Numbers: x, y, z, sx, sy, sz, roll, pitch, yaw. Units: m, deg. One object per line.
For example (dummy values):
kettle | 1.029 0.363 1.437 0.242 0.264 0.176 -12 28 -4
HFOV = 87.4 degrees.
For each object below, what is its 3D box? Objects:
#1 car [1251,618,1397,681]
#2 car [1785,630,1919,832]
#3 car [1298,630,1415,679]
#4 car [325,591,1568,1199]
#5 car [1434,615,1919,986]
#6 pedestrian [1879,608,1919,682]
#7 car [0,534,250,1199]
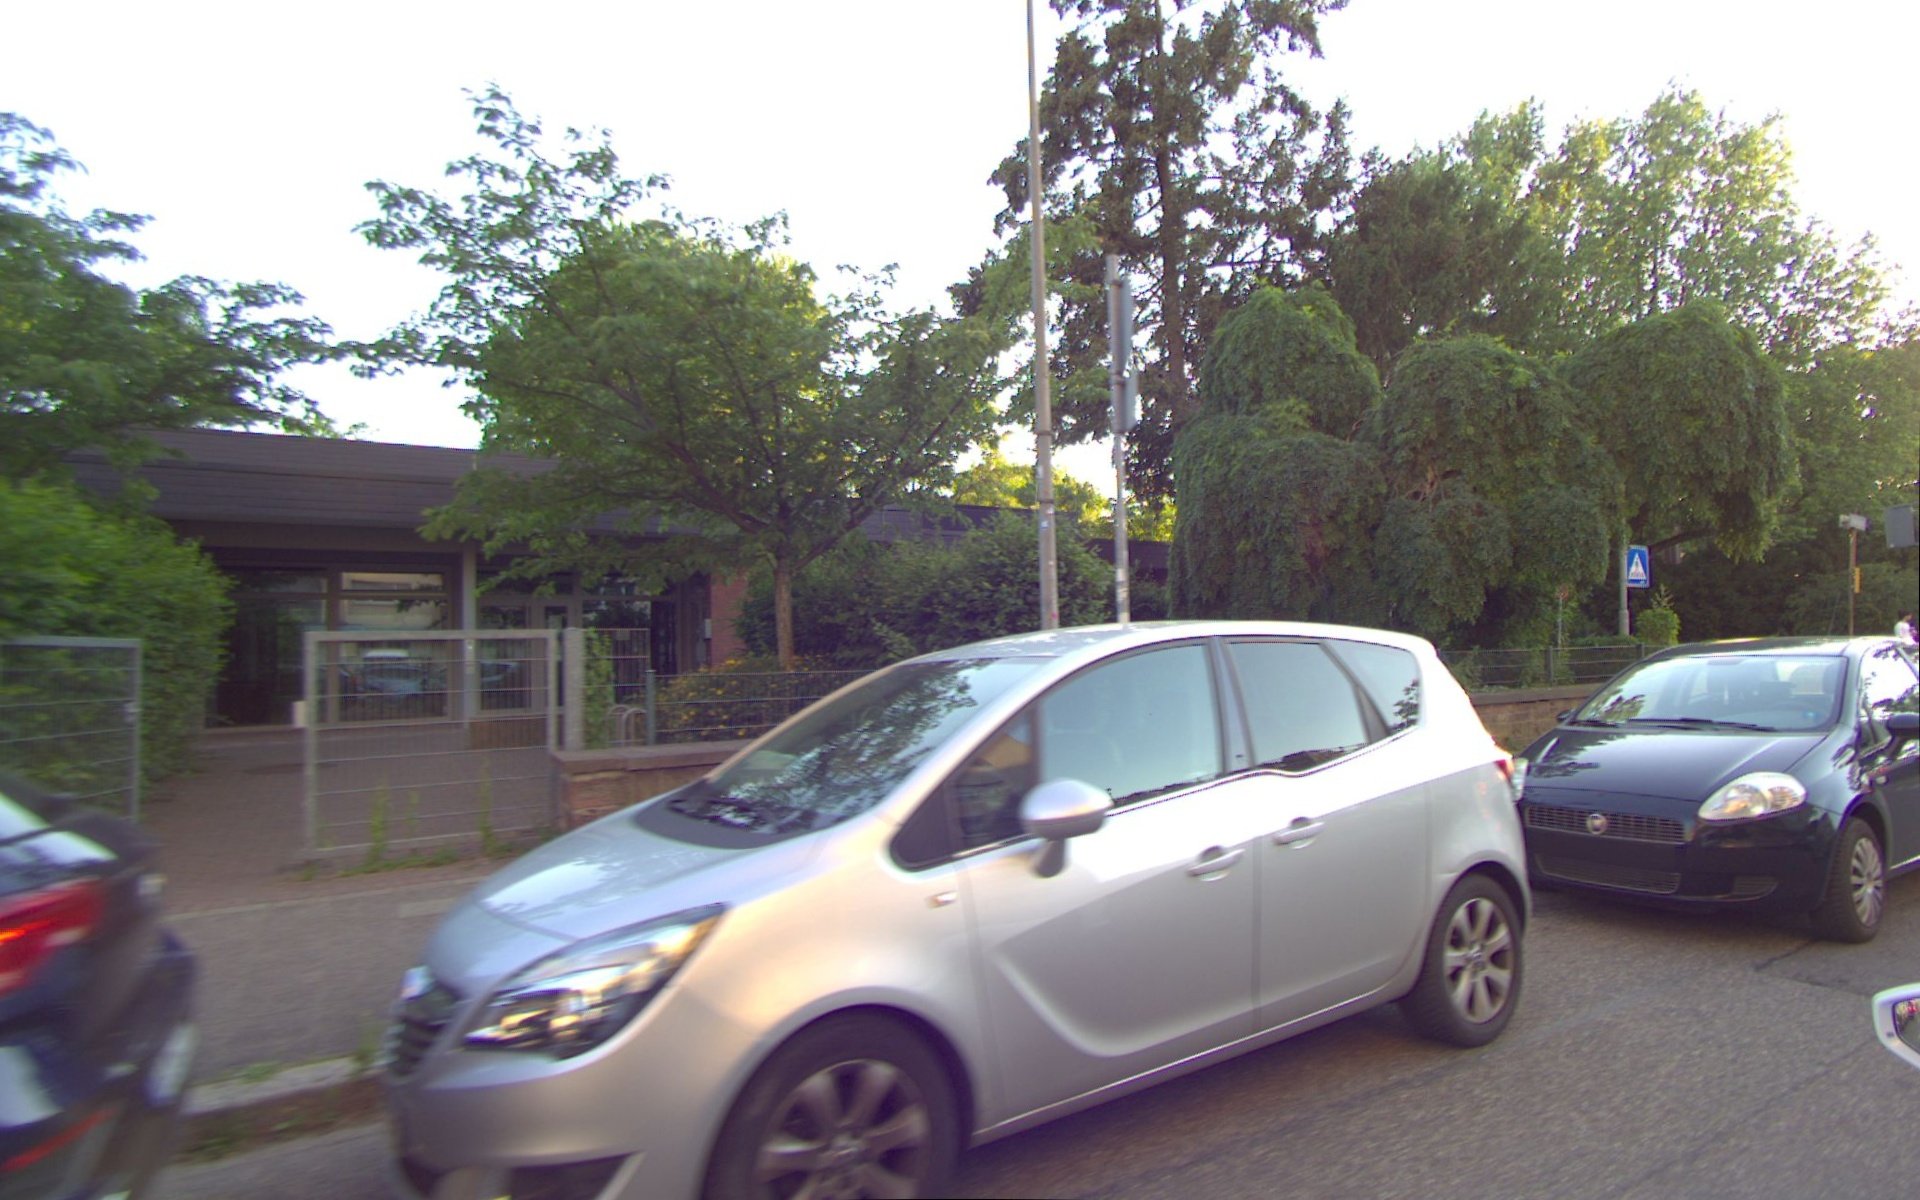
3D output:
car | 11.344 1.612 31.589 1.801 1.821 4.213 4 -5 -28
car | 9.174 1.047 8.965 3.751 1.587 1.724 0 -4 -34
car | 15.204 2.125 38.691 1.800 1.583 3.857 -7 0 -27
car | 0.185 0.849 3.541 4.086 1.587 1.724 0 -4 -34
car | 4.756 0.931 6.088 3.658 1.587 1.724 0 -4 -34
pedestrian | 23.954 1.136 25.600 0.613 1.833 0.590 0 -1 -29
car | -3.419 0.742 1.196 4.123 1.587 1.724 0 -4 -34
